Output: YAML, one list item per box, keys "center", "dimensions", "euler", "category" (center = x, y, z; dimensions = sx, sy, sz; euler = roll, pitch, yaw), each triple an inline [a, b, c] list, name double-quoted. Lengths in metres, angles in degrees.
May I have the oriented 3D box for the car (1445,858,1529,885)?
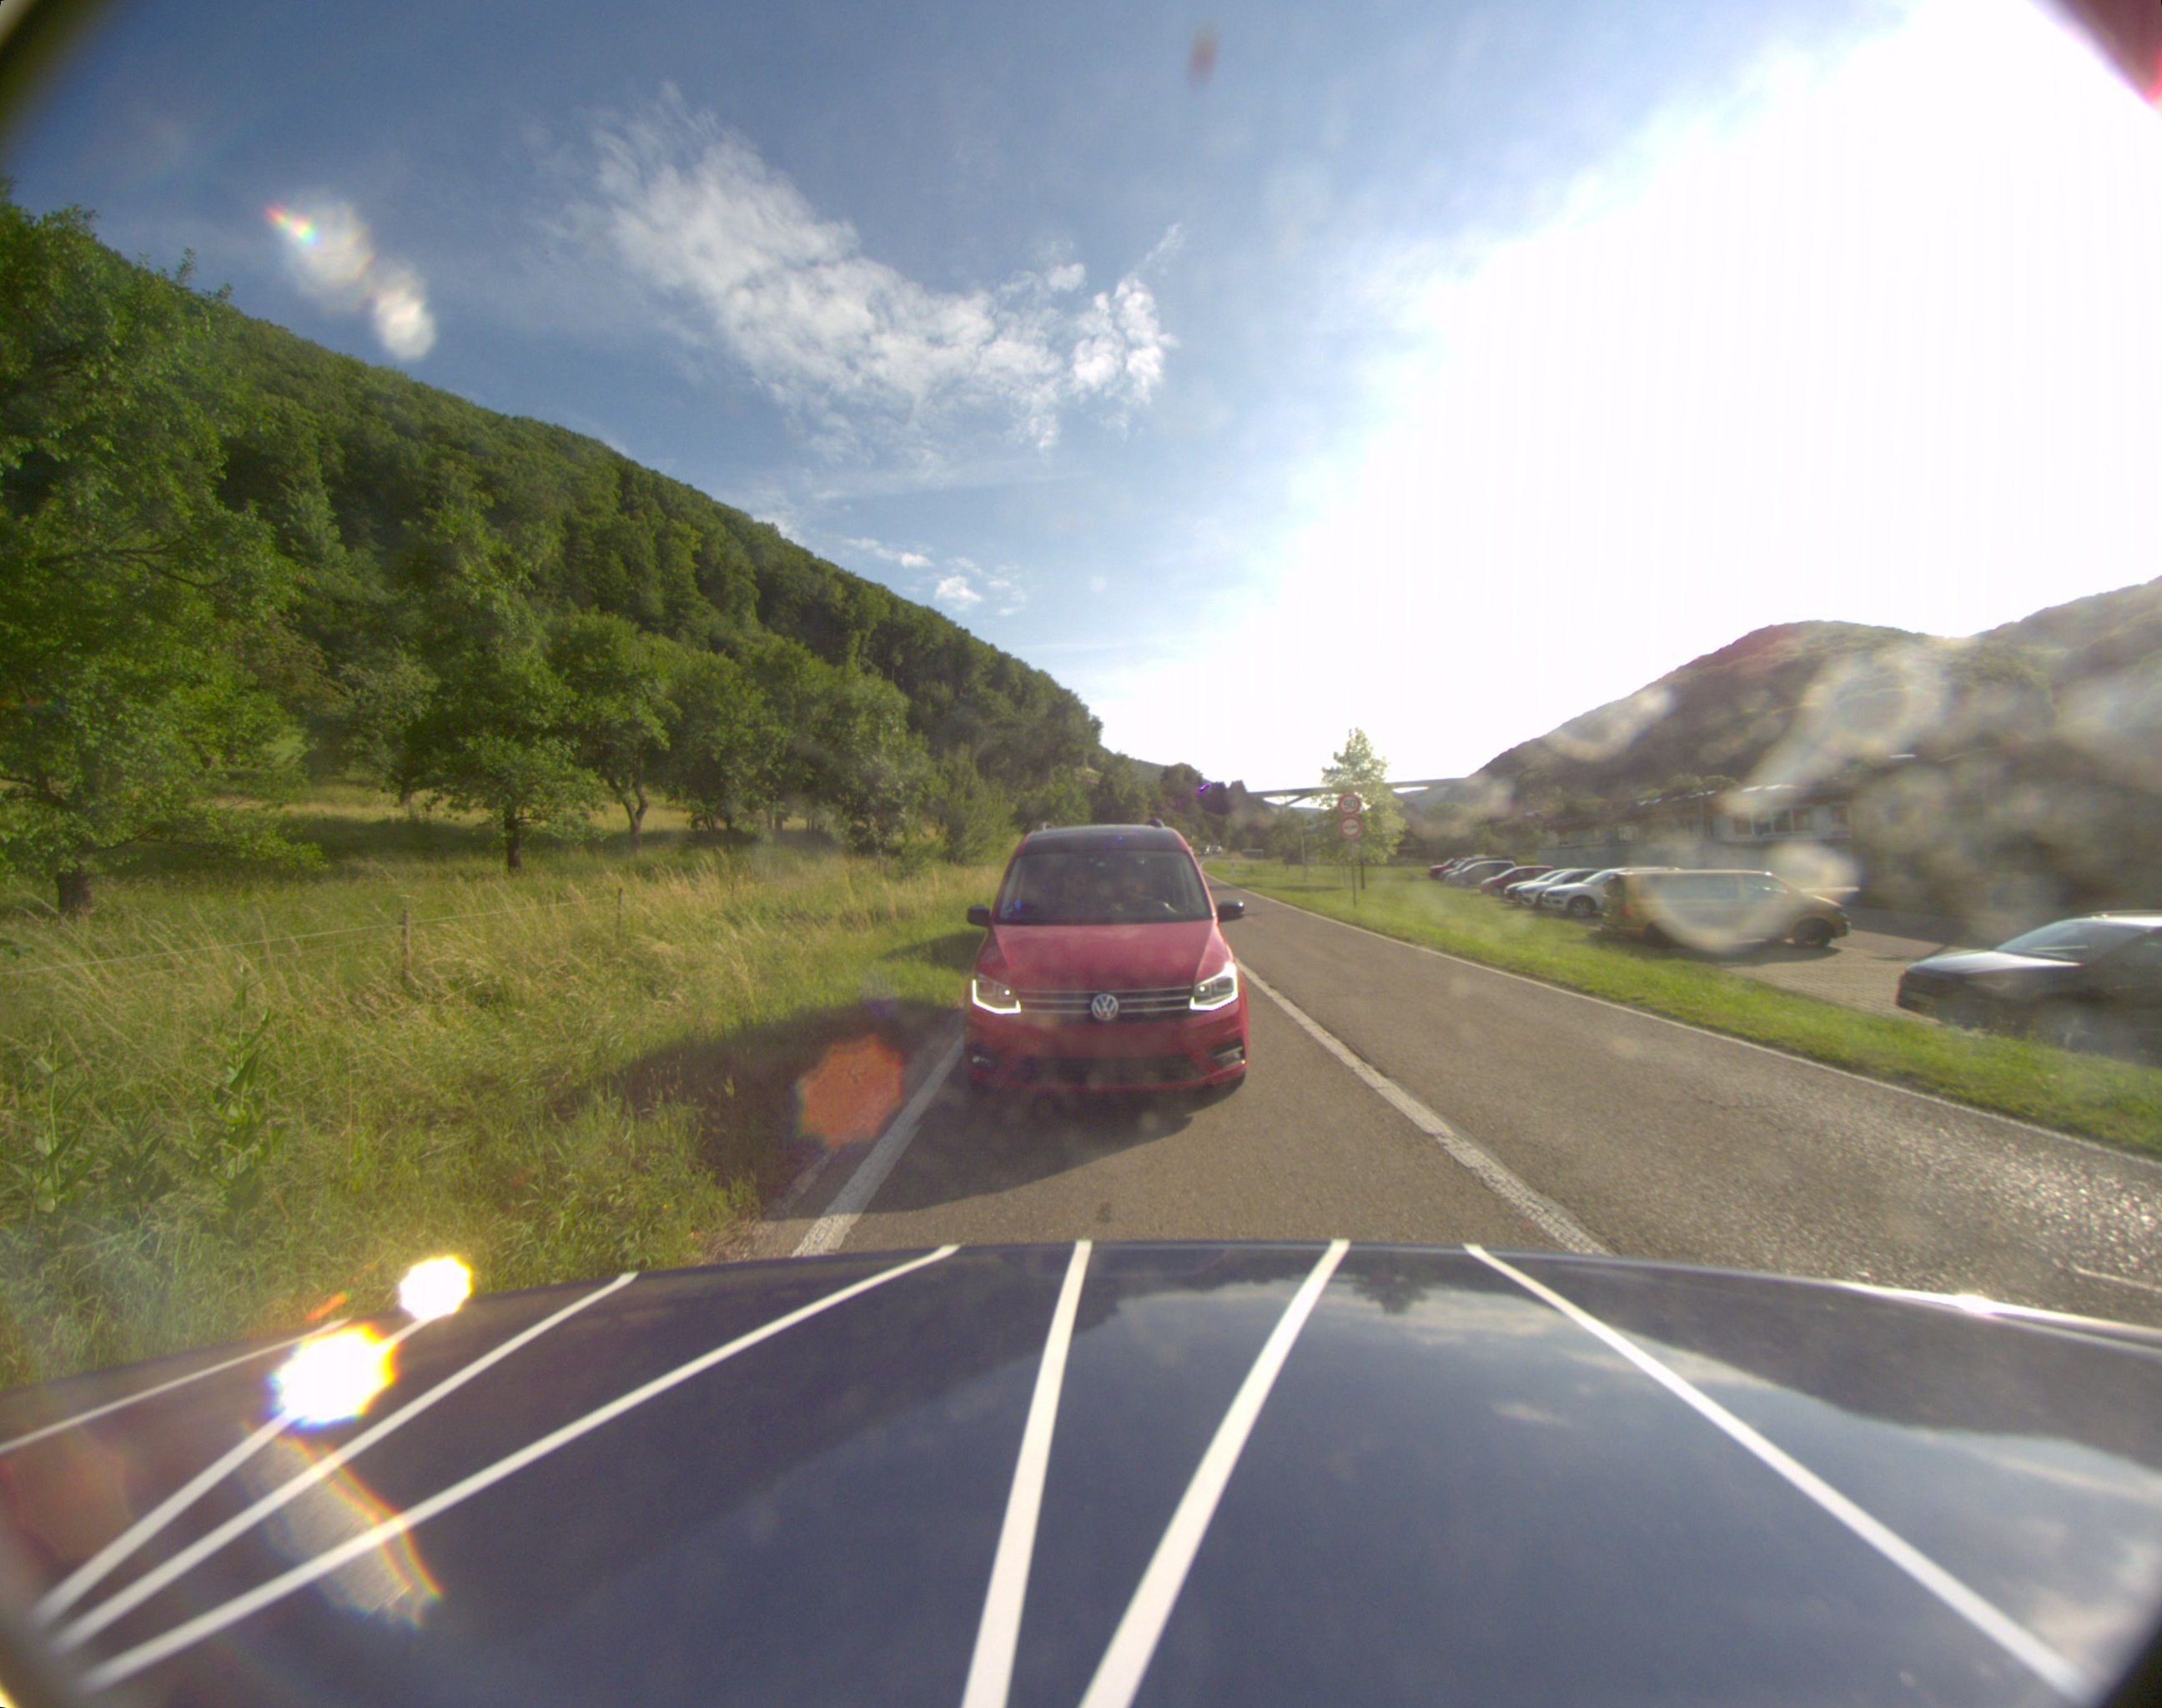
- center: [25.820, 1.108, 48.459]
  dimensions: [4.437, 1.573, 2.003]
  euler: [-2, 0, 18]
  category: "car"

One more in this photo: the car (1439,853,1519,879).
- center: [27.618, 0.842, 52.920]
  dimensions: [4.665, 1.752, 2.003]
  euler: [-1, 0, 18]
  category: "car"

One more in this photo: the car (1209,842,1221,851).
- center: [27.483, -1.499, 155.393]
  dimensions: [1.996, 1.707, 4.005]
  euler: [-2, 0, 15]
  category: "car"

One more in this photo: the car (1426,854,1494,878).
- center: [28.908, 0.930, 58.093]
  dimensions: [4.437, 1.709, 2.003]
  euler: [-1, 0, 18]
  category: "car"

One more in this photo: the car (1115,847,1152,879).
- center: [3.031, 0.506, 44.719]
  dimensions: [1.901, 1.717, 4.000]
  euler: [-2, 0, 1]
  category: "car"

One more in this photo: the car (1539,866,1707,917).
- center: [19.336, 1.322, 27.385]
  dimensions: [4.545, 1.691, 2.003]
  euler: [-1, 0, 20]
  category: "car"

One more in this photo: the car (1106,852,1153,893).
- center: [1.981, 0.739, 31.985]
  dimensions: [1.693, 1.539, 4.000]
  euler: [-2, 0, 1]
  category: "car"

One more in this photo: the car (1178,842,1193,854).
- center: [16.179, -0.866, 117.597]
  dimensions: [1.797, 1.725, 4.288]
  euler: [-2, 0, 15]
  category: "car"

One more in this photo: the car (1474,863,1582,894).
- center: [22.716, 1.243, 38.812]
  dimensions: [4.437, 1.443, 2.003]
  euler: [-1, 0, 20]
  category: "car"

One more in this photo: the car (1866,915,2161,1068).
- center: [13.539, 1.703, 9.841]
  dimensions: [4.289, 1.628, 1.915]
  euler: [-3, 0, 15]
  category: "car"

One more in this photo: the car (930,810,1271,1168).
- center: [0.132, 0.732, 6.206]
  dimensions: [1.747, 1.849, 4.348]
  euler: [-2, 0, 1]
  category: "car"

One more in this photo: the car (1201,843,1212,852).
- center: [23.146, -1.145, 140.252]
  dimensions: [1.677, 1.637, 3.350]
  euler: [-2, 0, 15]
  category: "car"

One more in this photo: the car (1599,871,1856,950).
- center: [16.439, 1.386, 19.648]
  dimensions: [4.653, 1.802, 2.003]
  euler: [-1, 0, 20]
  category: "car"

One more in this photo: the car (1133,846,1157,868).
- center: [5.893, 0.281, 70.001]
  dimensions: [1.997, 1.838, 4.002]
  euler: [-2, 0, 7]
  category: "car"

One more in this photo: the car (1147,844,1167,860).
- center: [8.855, -0.214, 88.124]
  dimensions: [1.911, 1.675, 4.004]
  euler: [-2, -1, 11]
  category: "car"

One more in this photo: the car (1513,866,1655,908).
- center: [20.212, 1.320, 30.783]
  dimensions: [4.437, 1.577, 2.003]
  euler: [-1, 0, 20]
  category: "car"

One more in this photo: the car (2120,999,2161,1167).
- center: [12.076, 2.118, 5.844]
  dimensions: [4.645, 1.488, 1.915]
  euler: [-1, 0, 15]
  category: "car"

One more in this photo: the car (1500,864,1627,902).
- center: [21.422, 1.267, 33.937]
  dimensions: [4.437, 1.573, 2.003]
  euler: [-1, 0, 18]
  category: "car"

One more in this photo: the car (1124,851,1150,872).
- center: [4.195, 0.562, 56.896]
  dimensions: [1.798, 1.464, 4.285]
  euler: [-2, 0, 6]
  category: "car"
